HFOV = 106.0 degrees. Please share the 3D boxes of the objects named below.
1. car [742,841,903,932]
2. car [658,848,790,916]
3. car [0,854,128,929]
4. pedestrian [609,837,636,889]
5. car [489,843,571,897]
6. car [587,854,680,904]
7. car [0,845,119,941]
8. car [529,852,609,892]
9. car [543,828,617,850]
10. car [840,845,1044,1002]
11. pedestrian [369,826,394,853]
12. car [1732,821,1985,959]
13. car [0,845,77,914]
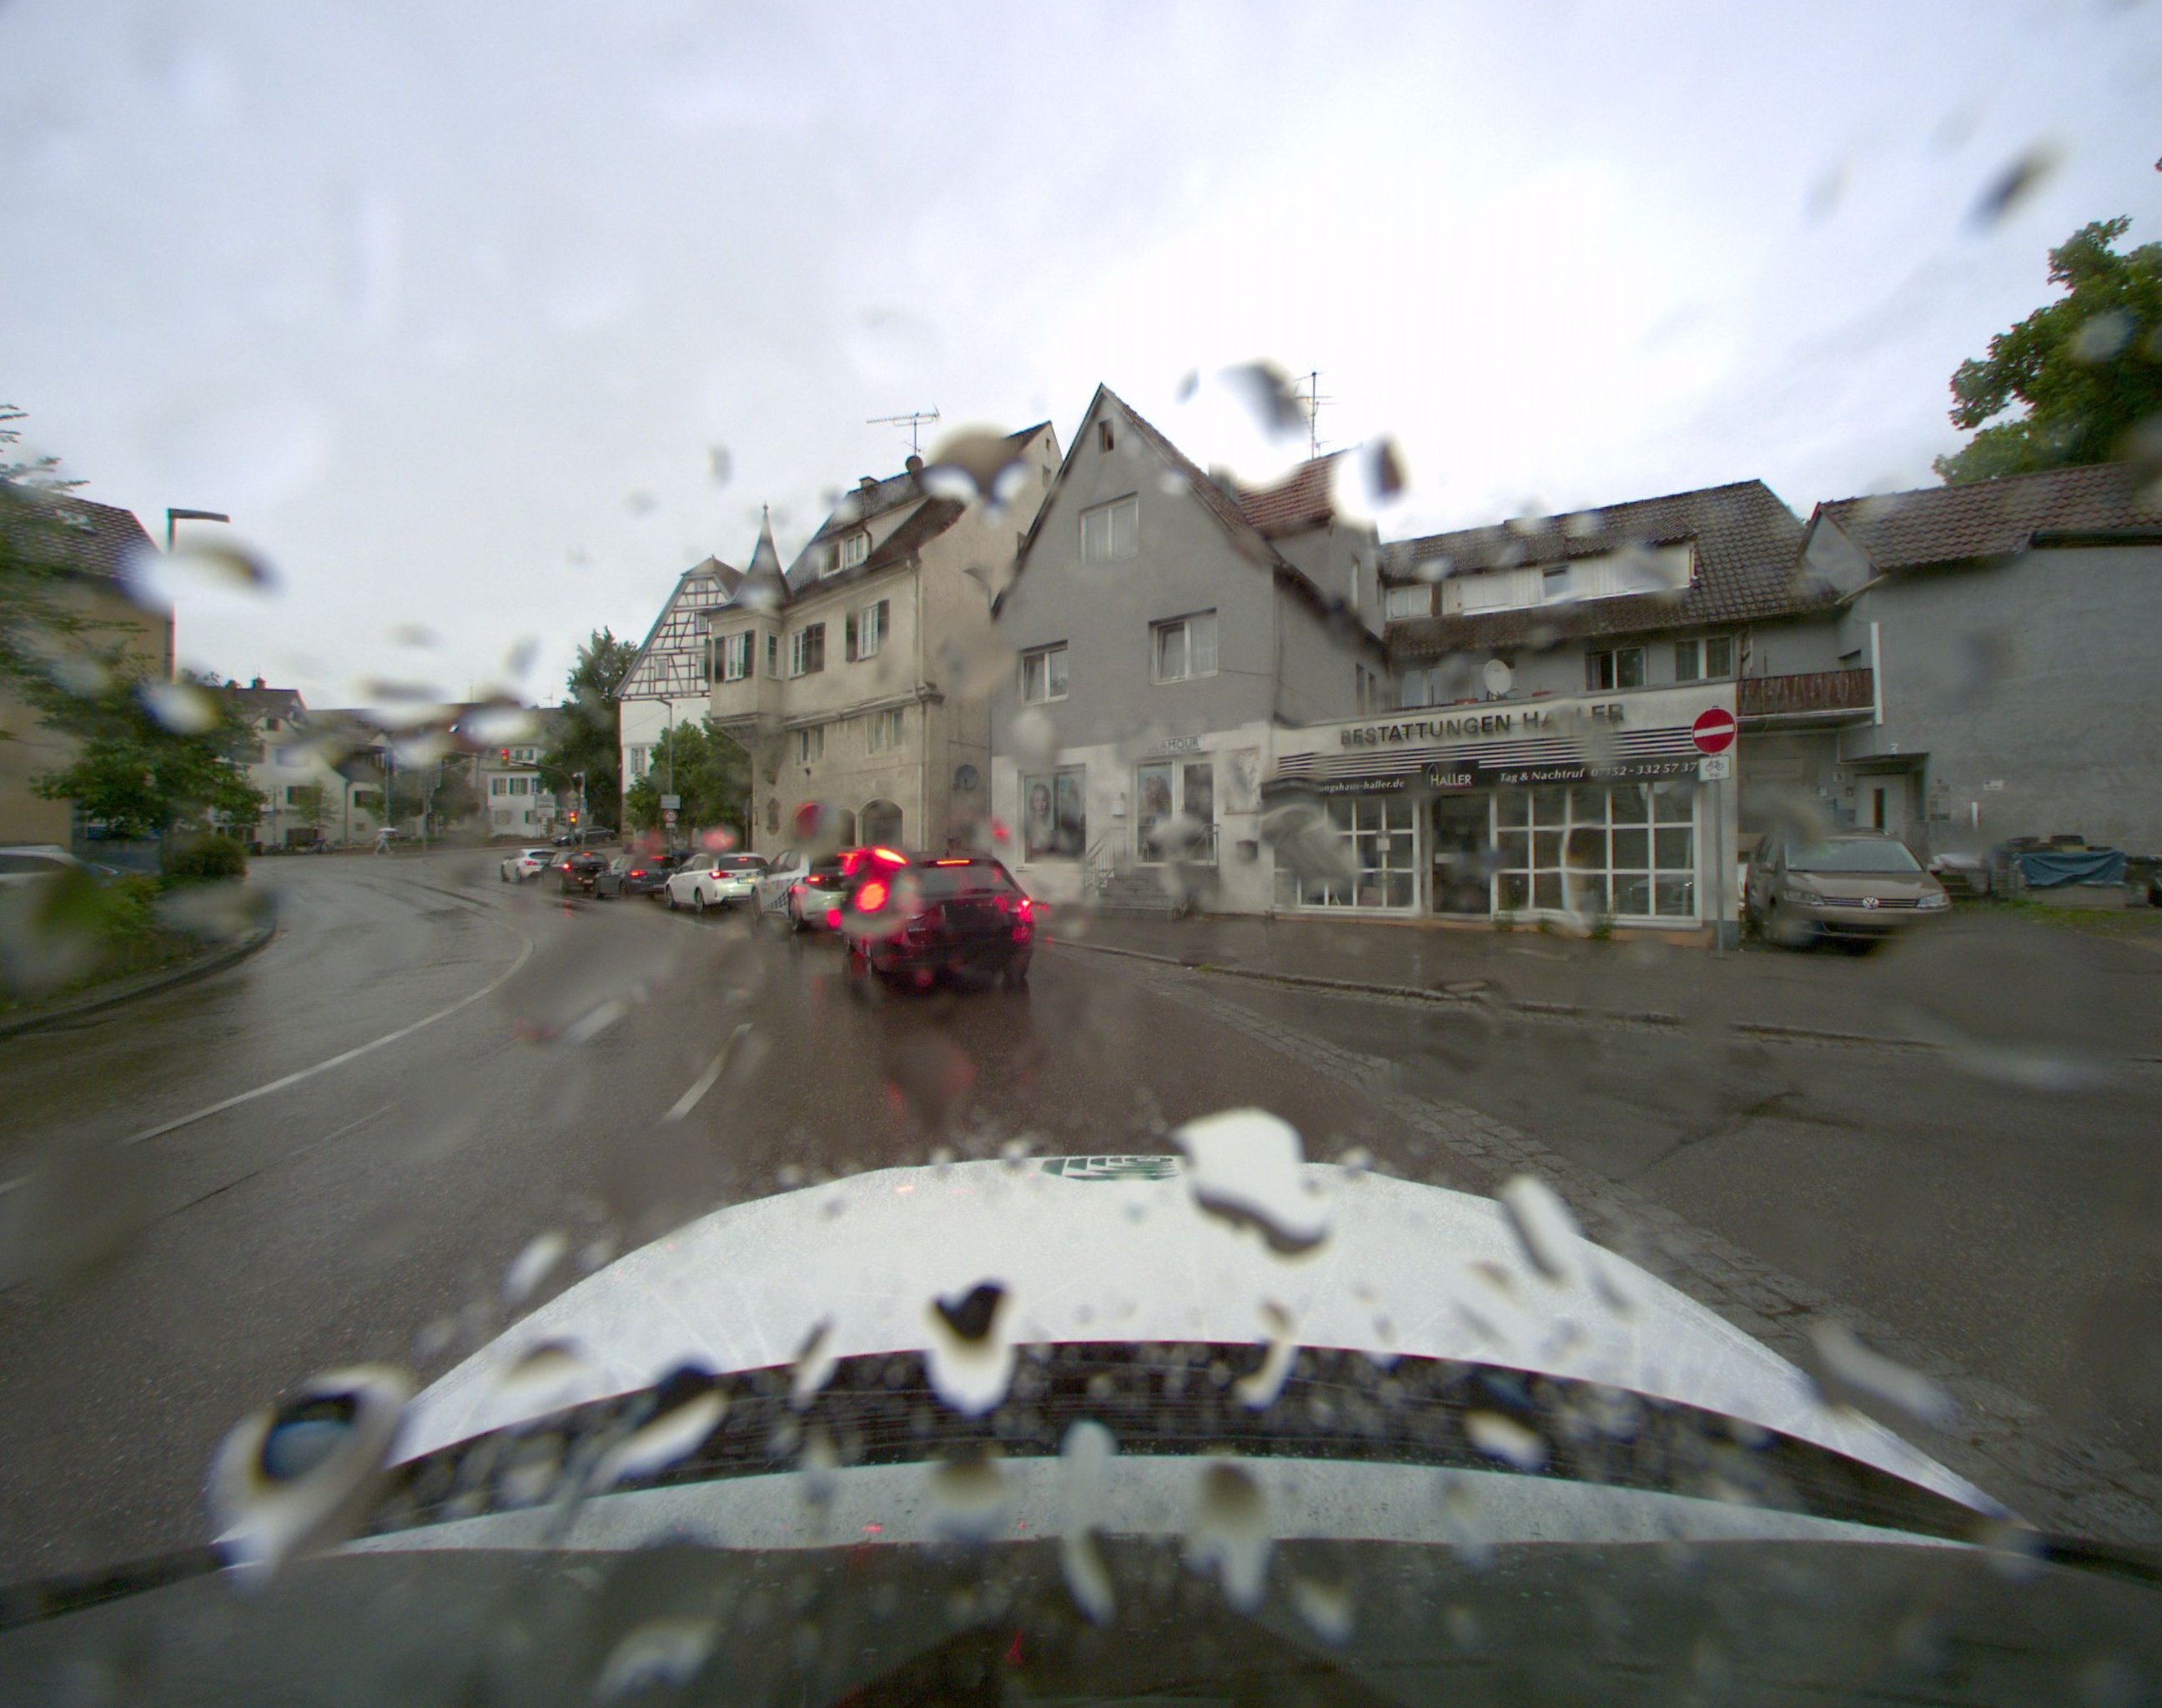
[{"bbox_3d":[-5.245,0.562,16.163,1.803,1.517,4.194,-2,1,-36],"label":"car"},{"bbox_3d":[-9.106,0.614,20.595,1.801,1.465,4.114,-3,2,-42],"label":"car"},{"bbox_3d":[-22.338,0.768,16.503,1.692,1.455,3.558,0,1,24],"label":"car"},{"bbox_3d":[-20.981,0.408,37.266,0.872,2.326,1.216,-1,0,-40],"label":"pedestrian"},{"bbox_3d":[-23.609,0.630,34.824,3.911,2.090,1.992,0,2,42],"label":"car"},{"bbox_3d":[-14.140,0.730,25.667,3.721,1.361,1.533,1,2,44],"label":"car"},{"bbox_3d":[-20.125,0.715,14.460,1.692,1.685,3.558,0,1,24],"label":"car"},{"bbox_3d":[-18.947,0.627,30.098,3.579,1.312,1.678,1,2,44],"label":"car"},{"bbox_3d":[-37.543,-1.099,61.135,1.632,1.389,4.555,7,3,23],"label":"car"},{"bbox_3d":[-1.939,0.644,10.170,1.738,1.450,4.212,-2,2,-21],"label":"car"},{"bbox_3d":[-46.034,-0.963,53.594,0.992,1.742,1.156,-1,0,42],"label":"pedestrian"},{"bbox_3d":[11.727,0.379,12.691,1.905,1.727,4.698,-1,2,32],"label":"car"},{"bbox_3d":[-26.196,0.612,18.729,1.692,1.576,3.558,0,1,24],"label":"car"}]
